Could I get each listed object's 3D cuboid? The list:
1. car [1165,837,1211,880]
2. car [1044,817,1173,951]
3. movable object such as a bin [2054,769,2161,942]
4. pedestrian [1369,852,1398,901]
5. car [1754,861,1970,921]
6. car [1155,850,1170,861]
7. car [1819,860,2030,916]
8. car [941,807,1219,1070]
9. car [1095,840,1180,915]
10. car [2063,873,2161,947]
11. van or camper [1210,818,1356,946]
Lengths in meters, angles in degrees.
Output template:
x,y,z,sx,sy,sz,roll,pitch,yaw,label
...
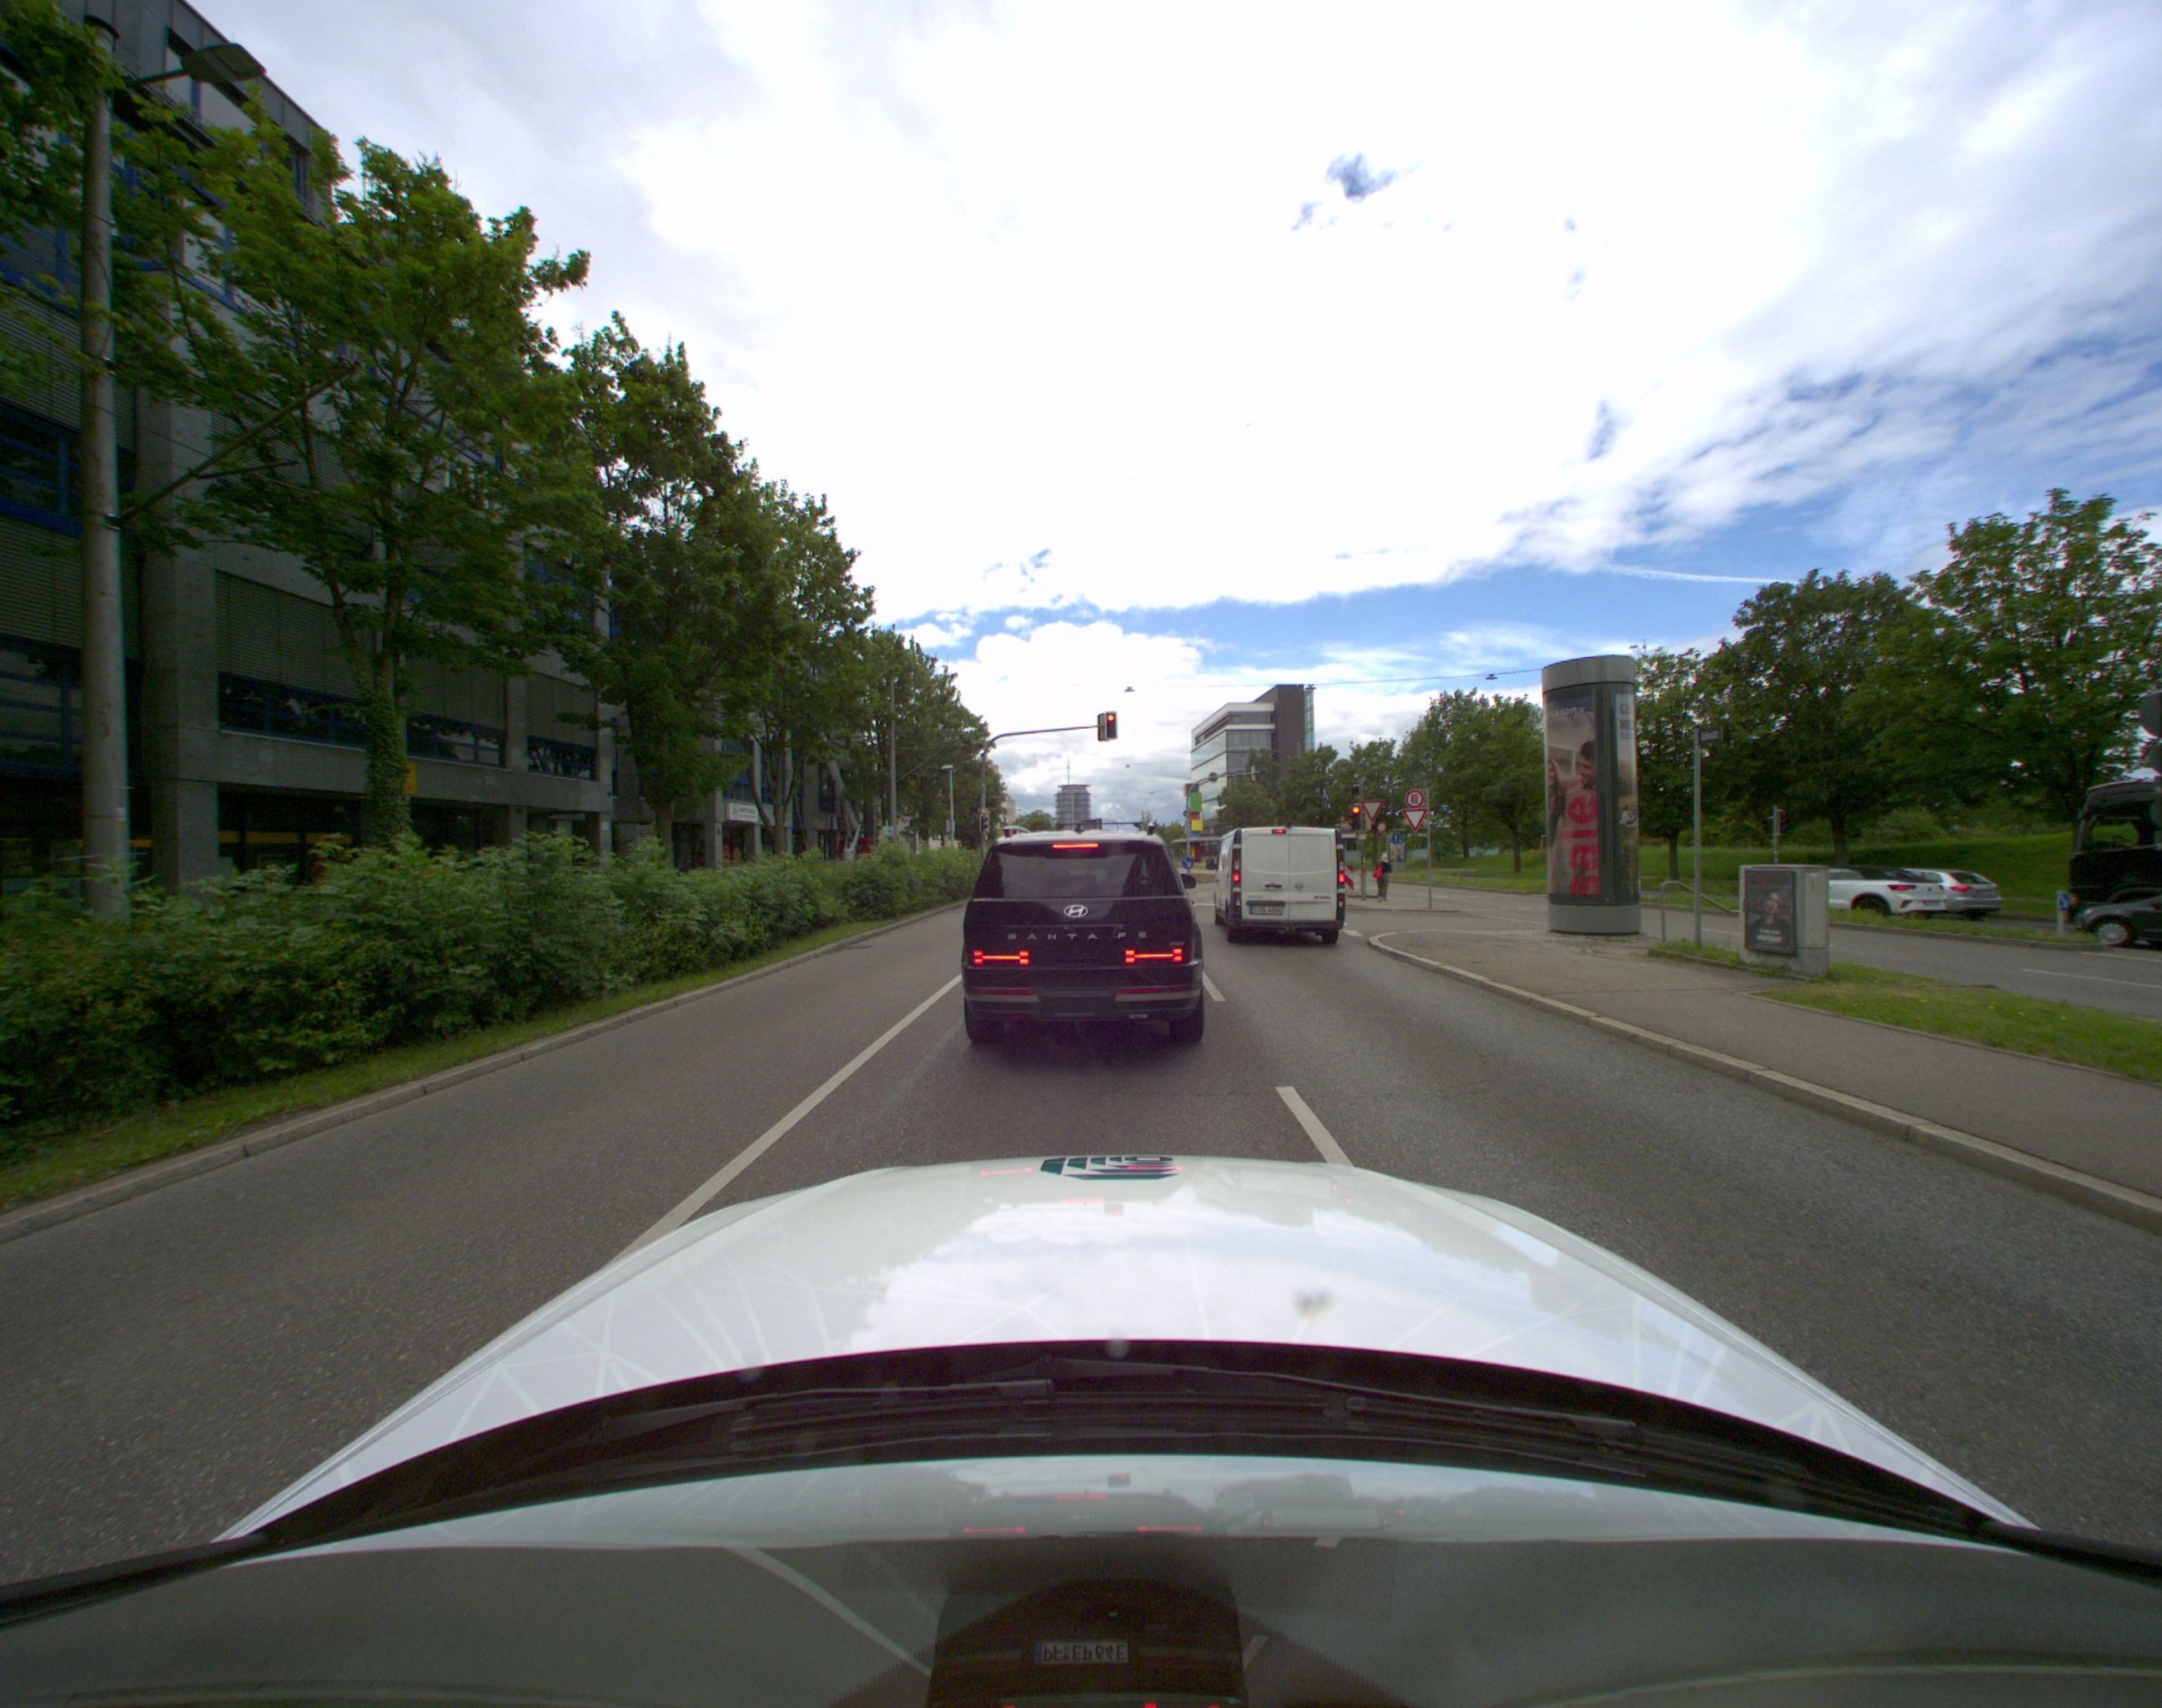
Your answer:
x,y,z,sx,sy,sz,roll,pitch,yaw,label
5.364,0.230,41.153,1.985,2.014,4.003,-1,-1,3,car
0.474,0.454,14.323,1.908,2.003,3.881,-1,0,2,car
26.282,-0.019,16.200,2.860,3.903,8.536,-1,-1,-11,movable object such as a bin
10.060,0.746,27.101,0.744,1.584,0.567,1,0,-38,pedestrian
21.790,0.977,22.973,1.994,1.453,3.985,1,0,-11,car
13.214,0.288,132.411,1.987,1.684,3.998,-1,-1,-1,car
25.123,0.954,24.470,1.994,1.453,3.985,1,0,-11,car
0.054,0.580,7.520,1.862,1.760,3.881,-1,0,2,car
1.551,0.560,20.878,1.765,1.717,4.349,-1,-1,9,car
23.027,1.190,16.221,1.994,1.453,3.985,1,0,-11,car
3.554,0.443,15.175,1.984,2.013,4.660,-1,0,6,van or camper
